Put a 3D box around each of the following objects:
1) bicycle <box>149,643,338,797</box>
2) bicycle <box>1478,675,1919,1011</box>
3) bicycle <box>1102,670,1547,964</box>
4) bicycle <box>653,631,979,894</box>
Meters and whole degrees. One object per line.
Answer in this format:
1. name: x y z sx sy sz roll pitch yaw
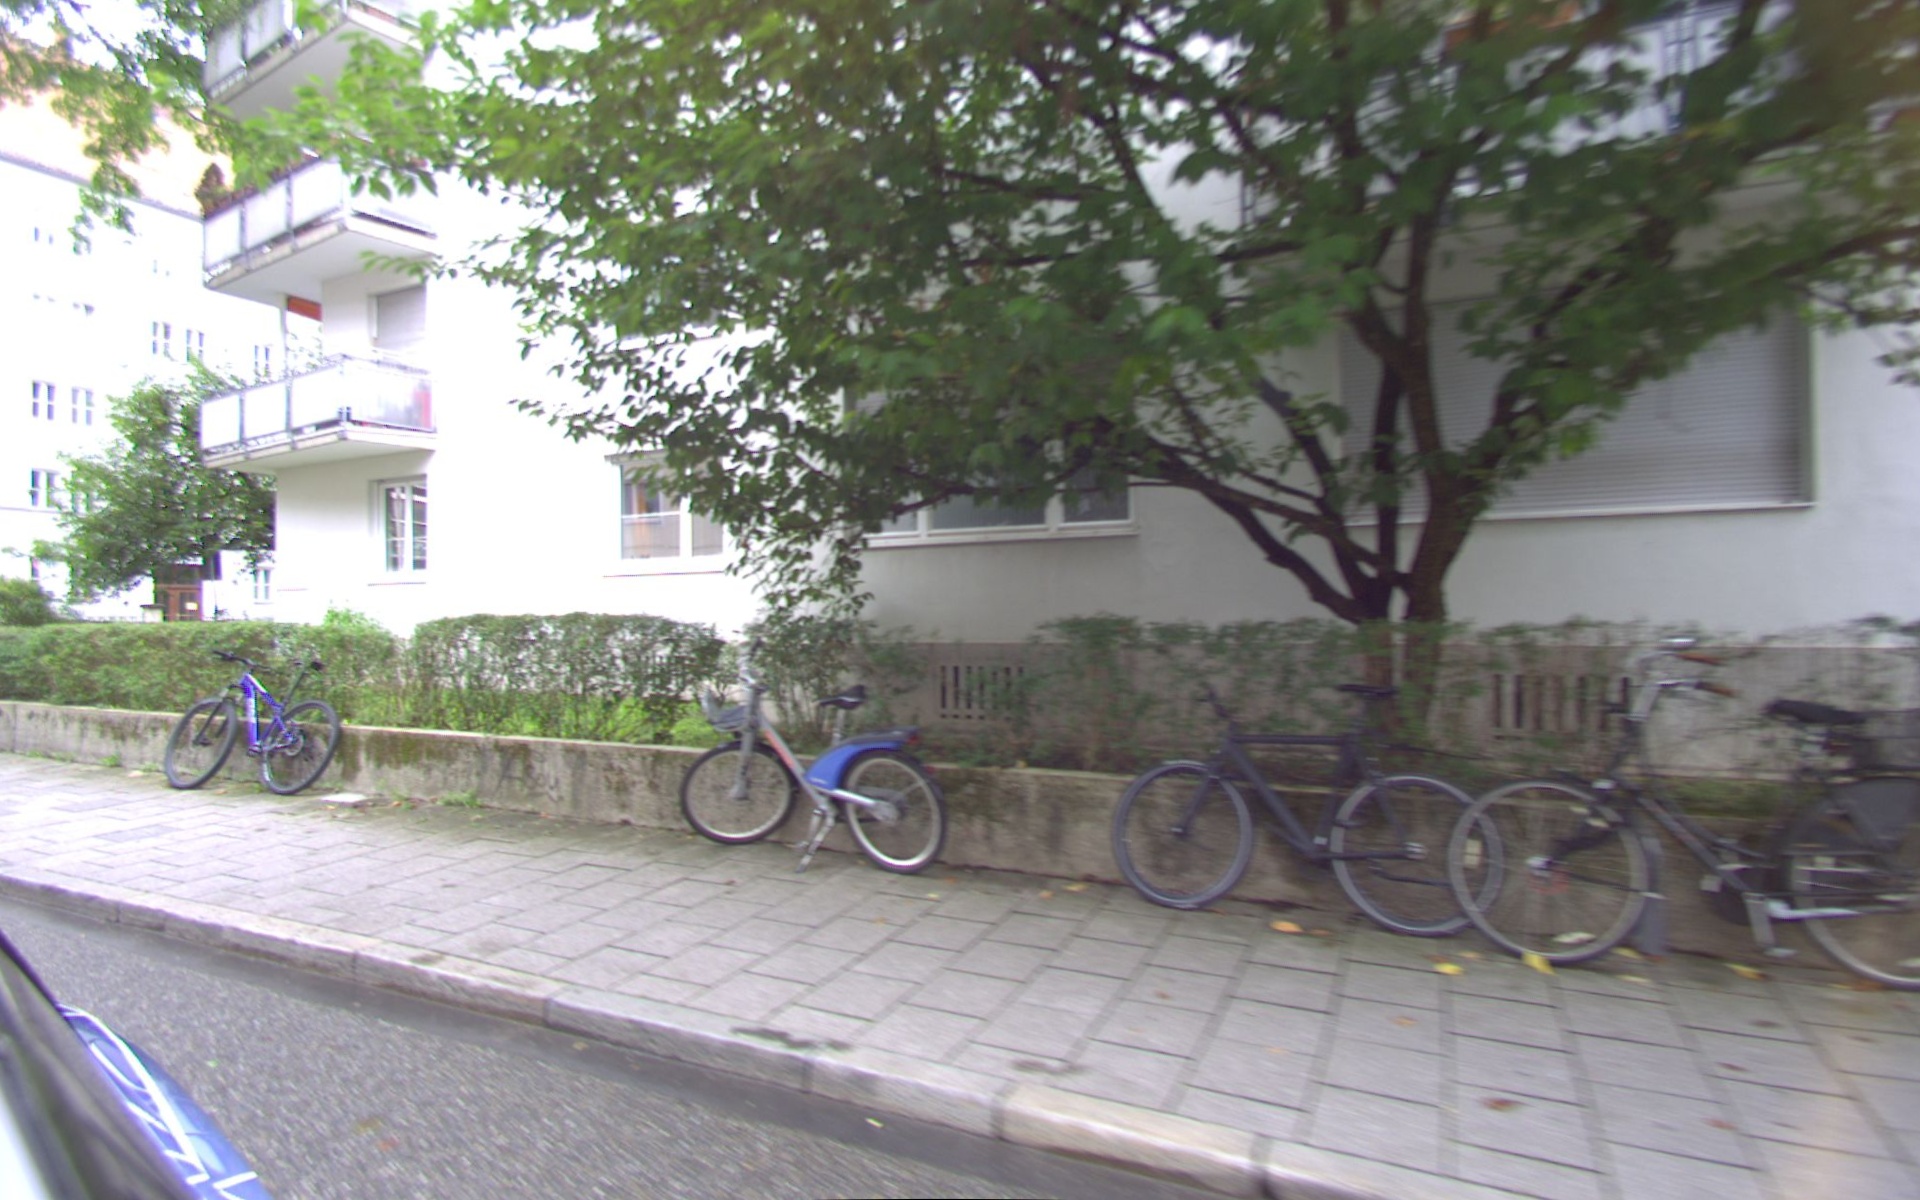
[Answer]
1. bicycle: -5.556 0.889 7.817 1.770 1.080 0.345 -1 2 26
2. bicycle: 2.861 0.807 3.553 1.844 0.986 0.441 0 2 28
3. bicycle: 1.478 0.830 4.261 1.690 0.986 0.433 0 2 28
4. bicycle: -0.772 0.765 5.243 1.690 1.160 0.485 0 2 28
